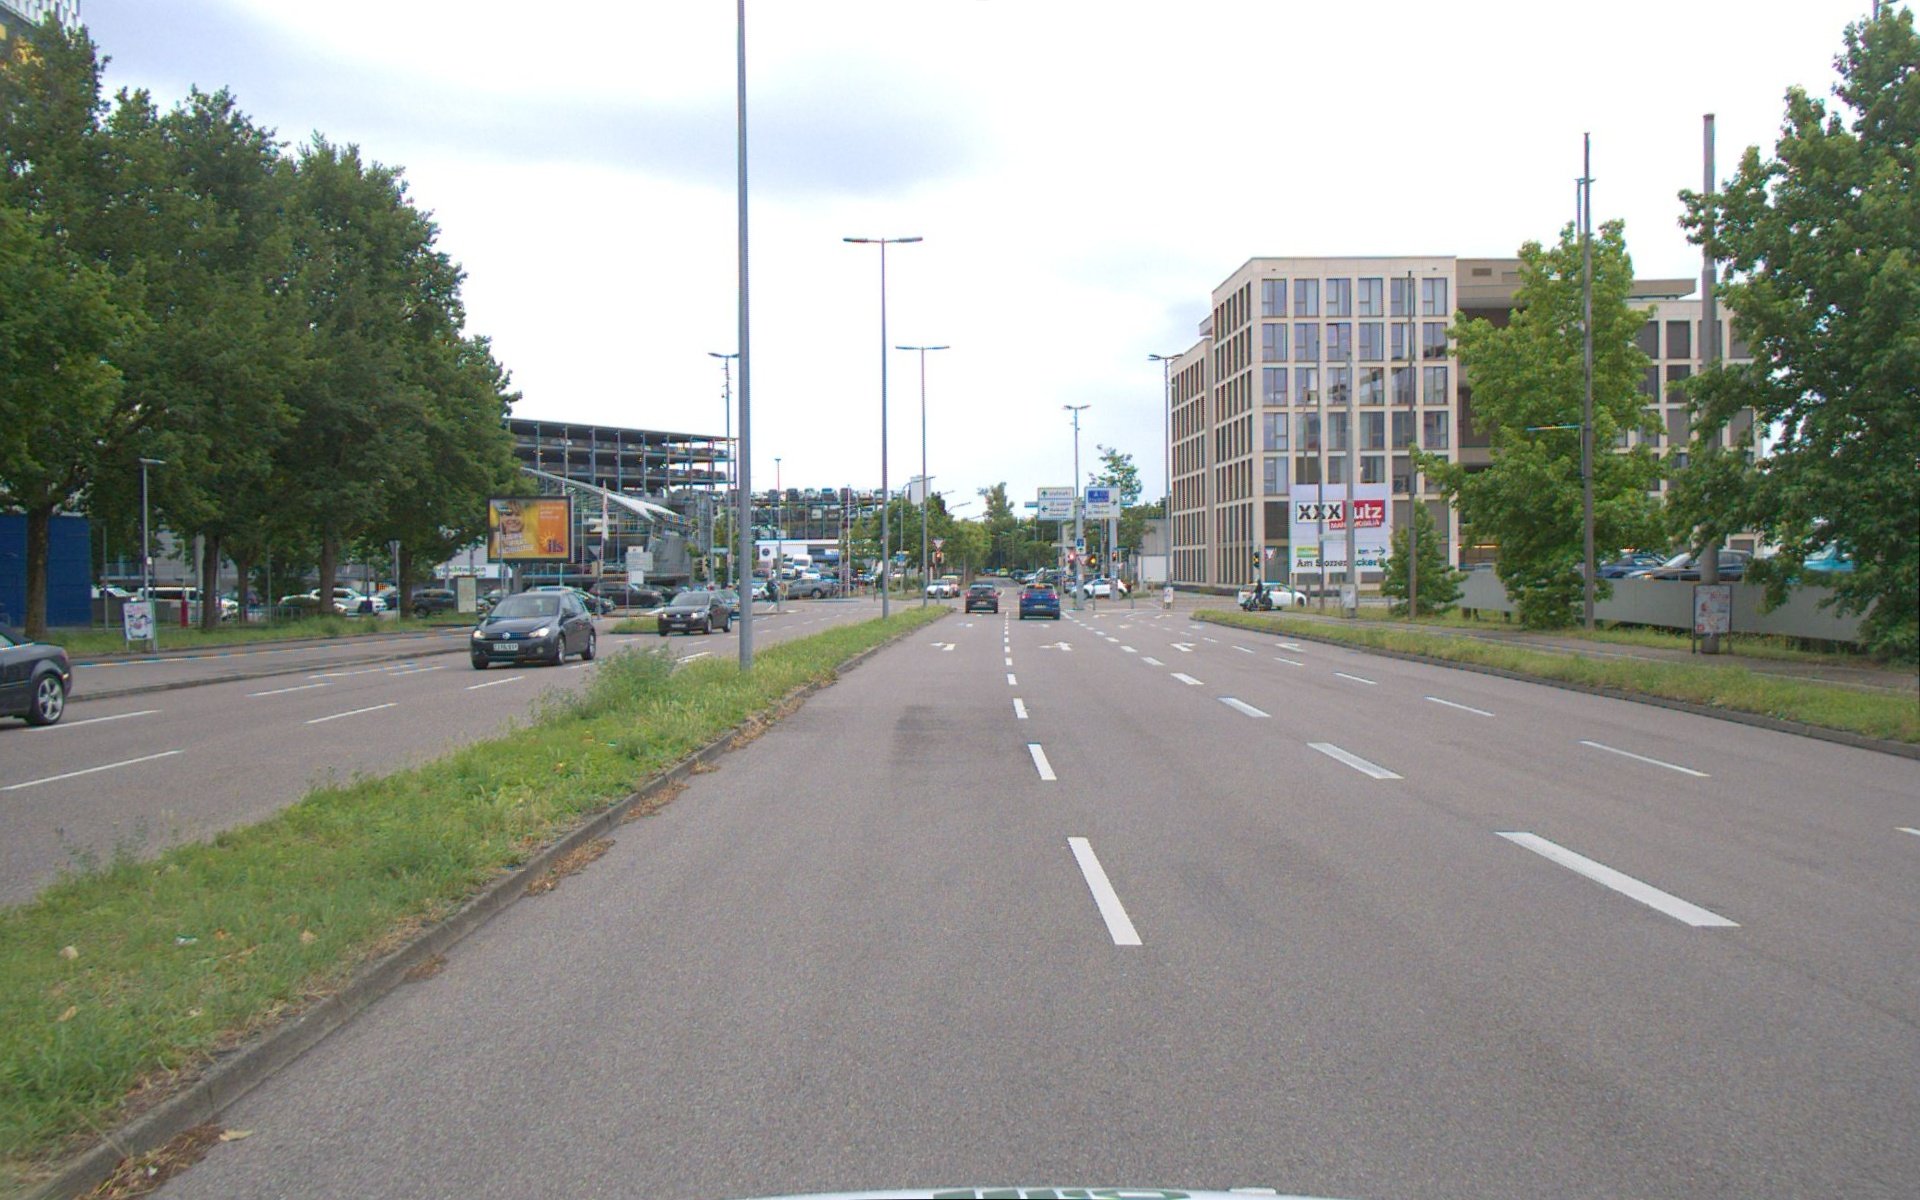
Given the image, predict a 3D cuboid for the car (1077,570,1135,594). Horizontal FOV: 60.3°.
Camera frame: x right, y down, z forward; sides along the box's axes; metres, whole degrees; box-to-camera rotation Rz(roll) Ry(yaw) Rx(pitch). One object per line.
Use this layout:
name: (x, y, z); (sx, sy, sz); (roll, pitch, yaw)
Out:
car: (10.392, -1.260, 117.755); (3.867, 1.595, 1.758); (-1, 2, -7)

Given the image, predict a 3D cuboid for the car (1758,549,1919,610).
car: (23.669, -0.566, 44.057); (3.987, 1.551, 1.811); (-1, 2, -4)

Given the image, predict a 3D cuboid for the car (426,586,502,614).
car: (-30.553, -0.008, 102.009); (4.166, 1.535, 1.998); (-1, 2, -6)

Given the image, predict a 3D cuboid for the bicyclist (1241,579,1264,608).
bicyclist: (15.316, -0.346, 86.672); (0.694, 1.530, 0.988); (-1, 1, -35)

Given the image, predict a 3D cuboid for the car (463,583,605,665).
car: (-8.581, 0.437, 33.657); (1.743, 1.481, 4.182); (-2, 1, 0)

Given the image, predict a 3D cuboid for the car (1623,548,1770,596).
car: (22.787, -0.882, 51.235); (3.794, 1.408, 1.720); (-1, 2, -2)

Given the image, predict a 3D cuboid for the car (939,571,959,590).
car: (-0.923, -1.659, 141.391); (1.567, 1.478, 3.325); (0, 3, 1)

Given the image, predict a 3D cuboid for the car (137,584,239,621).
car: (-45.504, 0.133, 97.532); (5.030, 1.997, 1.880); (-1, 4, -4)

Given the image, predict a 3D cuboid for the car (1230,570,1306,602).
car: (17.417, -0.786, 93.505); (4.133, 1.783, 1.975); (-1, 0, -36)

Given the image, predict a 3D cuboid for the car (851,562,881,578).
car: (-10.385, -3.362, 183.419); (3.229, 1.669, 1.479); (-1, 2, -2)

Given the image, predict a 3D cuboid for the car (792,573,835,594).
car: (-12.386, -1.416, 140.217); (3.534, 1.696, 1.548); (-1, 2, -4)

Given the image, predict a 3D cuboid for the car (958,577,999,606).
car: (0.933, -0.431, 85.468); (1.947, 1.453, 4.240); (0, 0, -1)

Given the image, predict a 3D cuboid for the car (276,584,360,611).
car: (-37.929, -0.156, 97.791); (4.143, 1.538, 1.993); (-1, 1, -3)

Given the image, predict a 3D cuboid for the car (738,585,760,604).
car: (-15.932, -0.420, 124.689); (1.347, 1.349, 3.024); (-1, 3, -13)

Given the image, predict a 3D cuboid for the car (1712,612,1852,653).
car: (28.308, 1.100, 57.060); (3.971, 1.374, 1.764); (0, 0, -1)

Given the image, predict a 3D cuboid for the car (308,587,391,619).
car: (-37.362, 0.165, 101.260); (4.346, 1.740, 1.999); (-1, 4, -5)

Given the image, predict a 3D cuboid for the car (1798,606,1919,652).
car: (28.046, 0.866, 50.576); (3.970, 1.374, 1.764); (0, 0, 0)

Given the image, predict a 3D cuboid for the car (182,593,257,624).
car: (-45.255, 0.527, 101.156); (3.685, 1.776, 1.880); (-1, 2, -3)

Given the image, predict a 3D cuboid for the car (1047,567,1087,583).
car: (10.399, -2.440, 160.357); (3.529, 1.504, 1.760); (0, 3, 21)

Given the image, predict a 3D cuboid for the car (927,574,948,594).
car: (-1.783, -1.285, 133.259); (1.567, 1.478, 3.325); (0, 3, 1)

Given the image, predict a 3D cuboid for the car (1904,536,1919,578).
car: (37.274, -1.631, 61.105); (3.762, 1.534, 1.785); (-1, 2, 3)

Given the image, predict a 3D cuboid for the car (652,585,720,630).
car: (-9.371, 0.232, 56.855); (1.893, 1.481, 4.179); (0, 0, -4)

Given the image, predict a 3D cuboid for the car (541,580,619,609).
car: (-22.678, -0.314, 98.765); (4.331, 1.689, 1.998); (0, 0, -6)

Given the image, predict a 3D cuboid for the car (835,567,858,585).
car: (-11.869, -2.488, 173.536); (1.738, 1.735, 3.920); (0, 3, 6)

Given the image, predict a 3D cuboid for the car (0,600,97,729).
car: (-12.107, 0.814, 19.149); (1.735, 1.477, 4.406); (-2, 1, 2)

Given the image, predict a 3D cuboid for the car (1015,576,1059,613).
car: (3.353, -0.277, 72.703); (1.797, 1.540, 4.001); (0, 1, 0)

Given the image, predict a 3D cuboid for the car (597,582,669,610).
car: (-20.891, -0.246, 105.758); (4.316, 1.672, 1.999); (-1, 2, -5)

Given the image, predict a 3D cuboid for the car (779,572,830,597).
car: (-12.181, -1.244, 129.487); (3.908, 1.821, 1.846); (-1, 2, -4)

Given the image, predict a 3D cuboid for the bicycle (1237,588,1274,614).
bicycle: (15.453, 0.042, 86.500); (0.694, 1.318, 1.986); (-1, 1, -35)

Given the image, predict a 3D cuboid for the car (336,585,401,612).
car: (-39.528, -0.087, 110.587); (3.781, 1.663, 1.723); (-1, 2, -5)

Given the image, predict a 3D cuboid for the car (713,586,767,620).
car: (-10.582, 0.119, 79.867); (1.754, 1.505, 4.533); (-2, 1, 3)

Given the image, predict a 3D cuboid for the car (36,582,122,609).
car: (-53.529, -0.280, 100.537); (4.143, 1.530, 1.993); (-1, 1, -3)

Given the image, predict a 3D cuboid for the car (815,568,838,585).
car: (-14.015, -2.469, 173.517); (1.738, 1.735, 3.920); (0, 3, 6)

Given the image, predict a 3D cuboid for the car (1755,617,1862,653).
car: (33.997, 1.389, 66.339); (3.545, 1.308, 1.459); (0, 2, 2)

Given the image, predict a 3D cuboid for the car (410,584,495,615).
car: (-30.136, -0.042, 98.232); (4.456, 1.688, 1.998); (-2, 1, -6)

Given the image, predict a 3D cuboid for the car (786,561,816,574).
car: (-19.642, -4.021, 204.460); (3.592, 1.555, 1.612); (-1, 2, -6)
